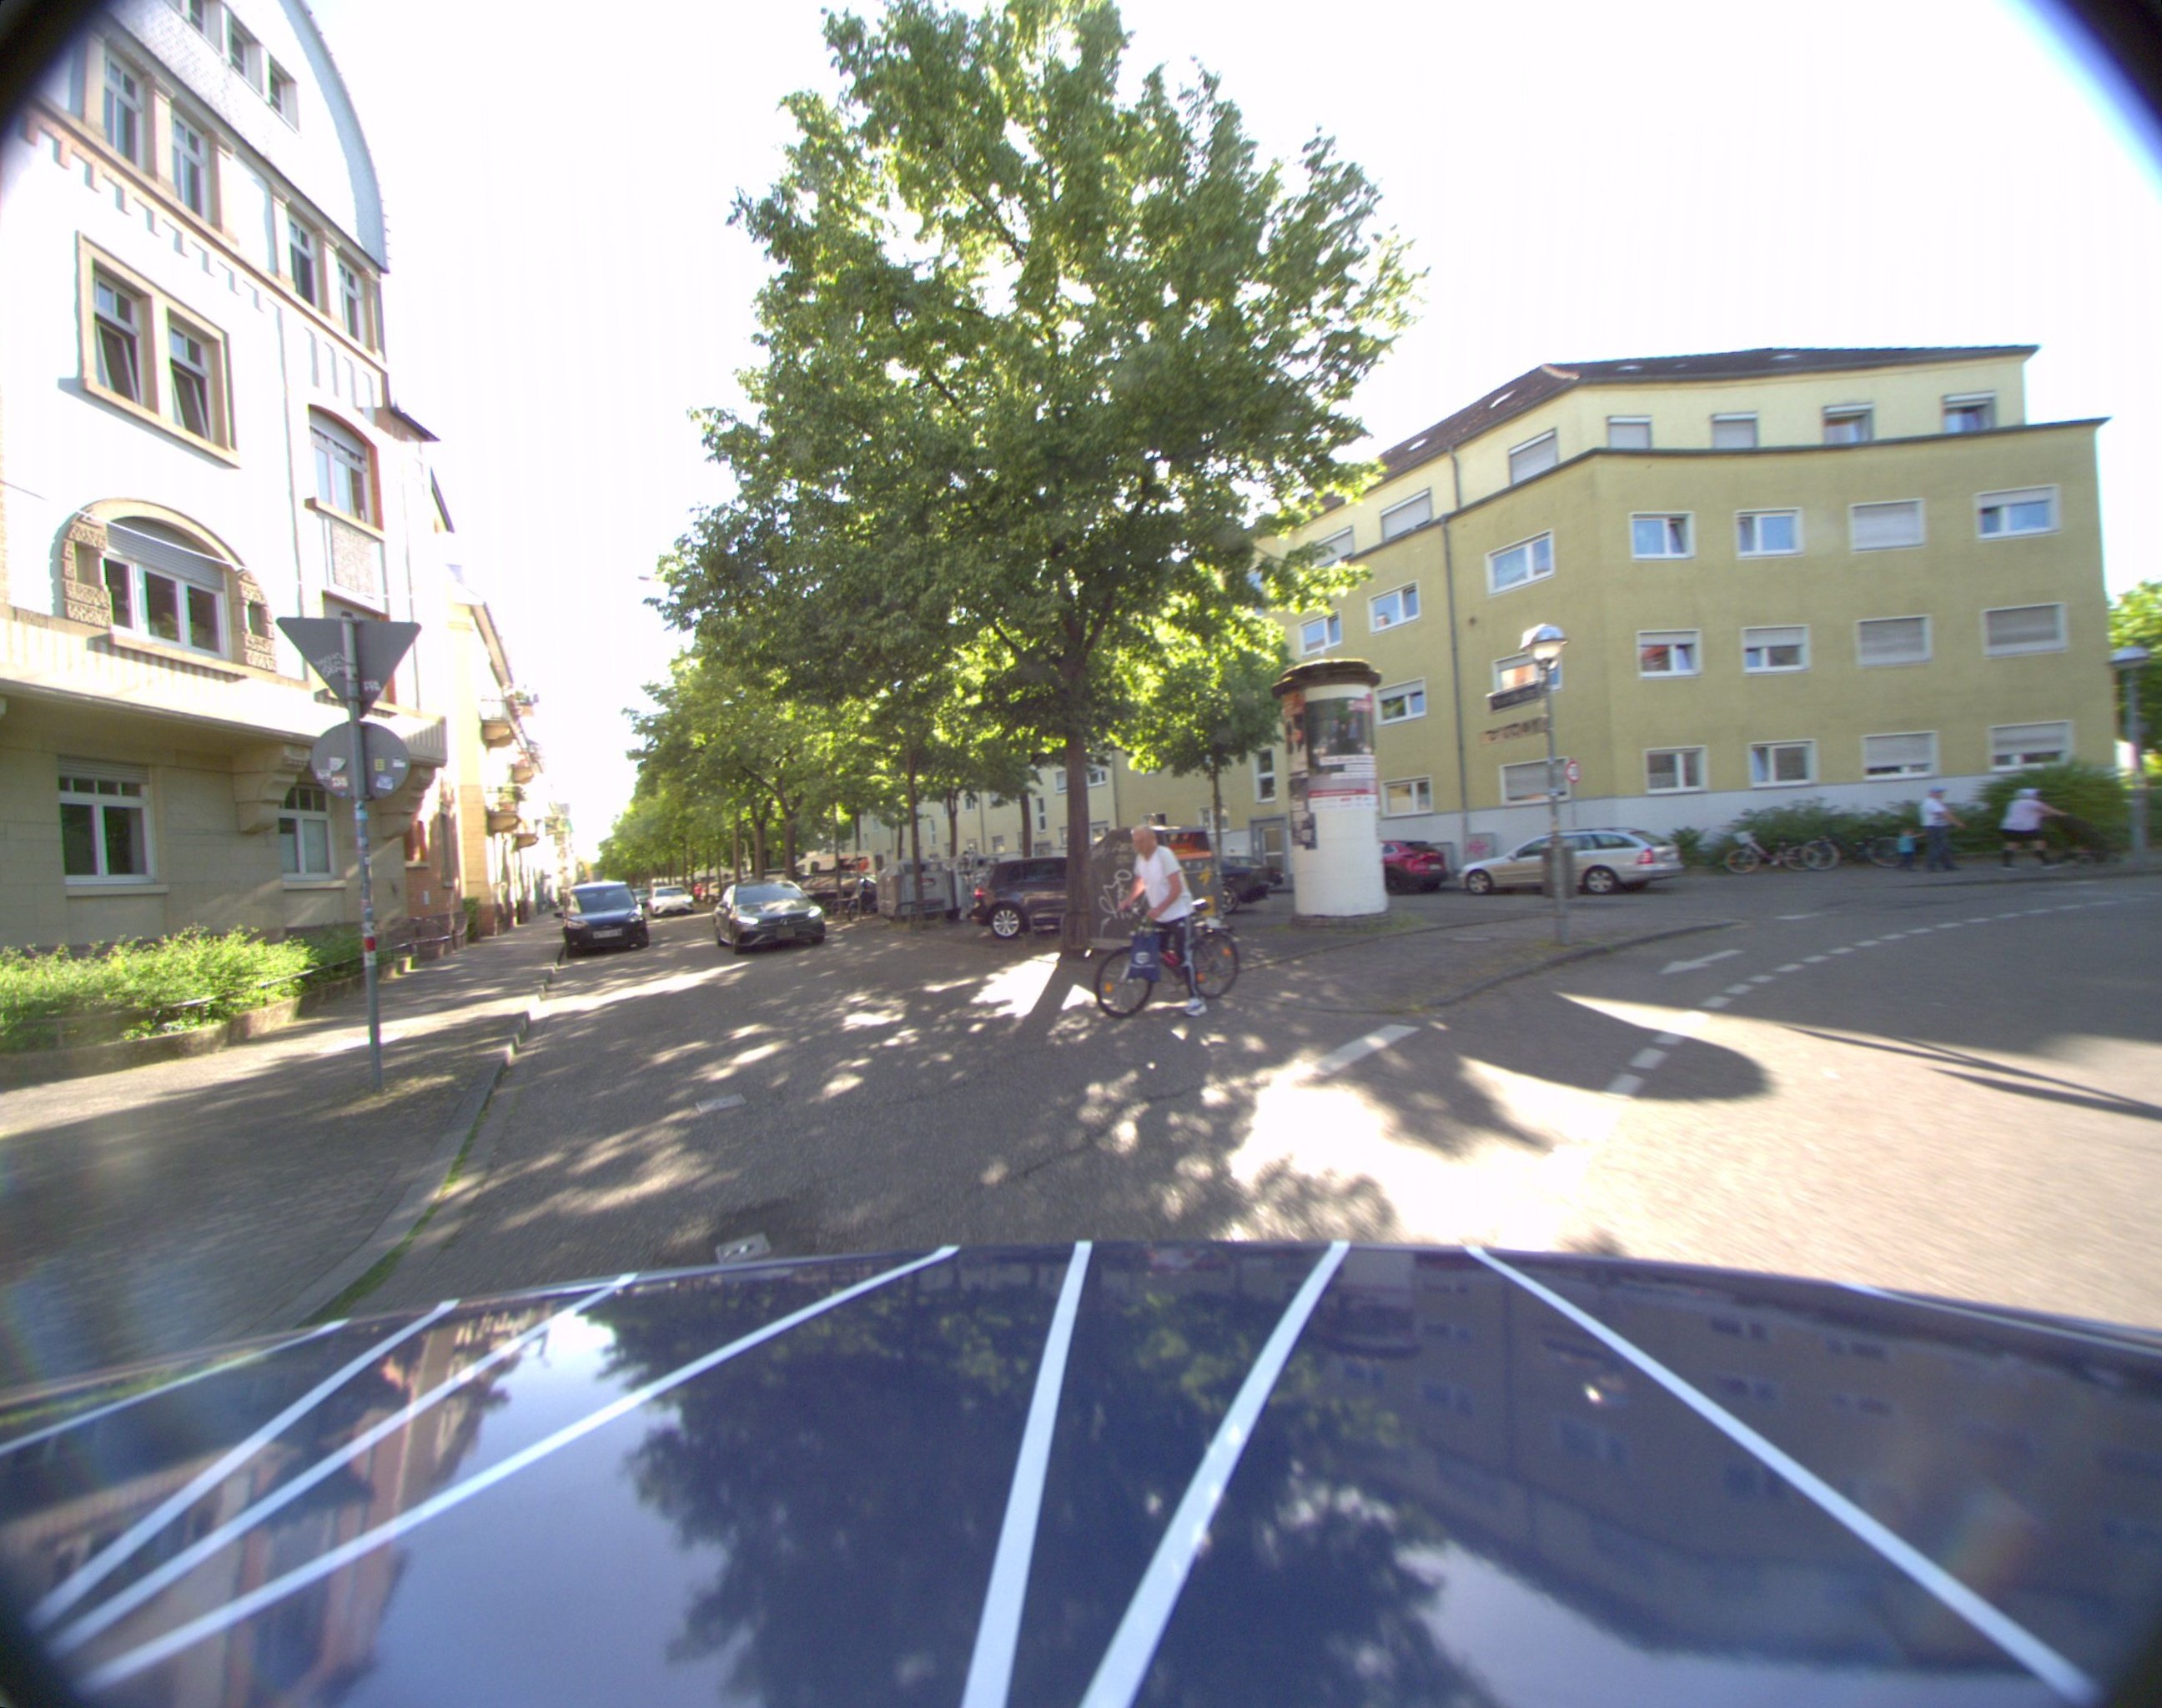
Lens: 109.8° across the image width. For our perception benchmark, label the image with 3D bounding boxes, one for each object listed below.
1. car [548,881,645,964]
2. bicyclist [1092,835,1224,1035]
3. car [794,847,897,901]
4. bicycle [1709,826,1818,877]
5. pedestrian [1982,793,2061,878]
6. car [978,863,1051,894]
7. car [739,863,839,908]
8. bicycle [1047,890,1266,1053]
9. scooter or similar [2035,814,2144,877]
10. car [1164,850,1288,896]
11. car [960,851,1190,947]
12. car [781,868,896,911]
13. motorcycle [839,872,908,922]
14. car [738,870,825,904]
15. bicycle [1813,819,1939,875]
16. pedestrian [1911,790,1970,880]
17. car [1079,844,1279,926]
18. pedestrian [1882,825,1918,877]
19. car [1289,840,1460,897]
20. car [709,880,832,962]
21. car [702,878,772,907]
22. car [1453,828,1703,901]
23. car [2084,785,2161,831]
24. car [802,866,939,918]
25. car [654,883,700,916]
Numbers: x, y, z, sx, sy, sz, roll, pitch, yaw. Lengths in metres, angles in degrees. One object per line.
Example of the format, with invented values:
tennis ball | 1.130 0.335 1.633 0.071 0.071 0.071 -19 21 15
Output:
car | -12.641 1.708 20.009 1.800 1.757 4.200 -6 1 -31
bicyclist | 0.708 0.701 7.054 0.813 1.686 0.763 -4 1 -31
car | -12.266 1.038 39.792 4.591 2.476 1.987 -4 0 1
bicycle | 15.873 -0.042 17.707 0.501 1.101 1.795 -4 0 -43
pedestrian | 17.770 -0.347 14.373 0.696 1.515 0.651 -5 3 30
car | -3.629 1.337 40.963 2.047 1.430 4.378 -4 0 -33
car | -13.991 1.494 36.537 3.995 1.887 1.824 -4 0 6
bicycle | 0.724 1.004 7.065 1.872 1.191 0.763 -4 1 -31
scooter or similar | 18.490 -0.171 13.966 0.897 1.017 0.919 -5 3 30
car | 5.085 0.709 27.255 1.738 1.430 4.378 -4 0 -33
car | -0.025 0.810 14.247 3.995 1.464 1.761 -4 0 8
car | -9.928 1.455 31.261 3.995 1.444 1.824 -4 0 6
motorcycle | -6.122 1.255 22.506 0.726 1.340 1.803 -4 0 40
car | -16.660 1.826 42.378 3.995 1.624 1.824 -4 0 6
bicycle | 17.469 -0.147 16.749 1.795 1.101 0.501 -4 0 33
pedestrian | 17.004 -0.378 15.042 0.607 1.684 0.555 -4 3 38
car | 2.089 0.645 16.484 3.995 1.464 1.760 -4 0 7
pedestrian | 16.903 -0.060 15.681 0.405 1.034 0.377 -4 3 38
car | 8.376 0.451 22.083 1.738 1.430 4.378 -4 0 -33
car | -6.943 1.373 16.726 1.800 1.427 4.200 -5 0 -31
car | -24.159 2.667 53.446 3.999 1.677 1.822 -4 0 -8
car | 11.289 0.284 17.628 1.735 1.403 4.480 -4 0 -33
car | 39.425 -1.728 27.639 1.796 1.566 4.006 -4 -1 25
car | -7.074 1.268 25.720 3.995 1.432 1.824 -4 0 6
car | -20.572 2.286 38.605 1.800 1.427 4.200 -5 0 -31
